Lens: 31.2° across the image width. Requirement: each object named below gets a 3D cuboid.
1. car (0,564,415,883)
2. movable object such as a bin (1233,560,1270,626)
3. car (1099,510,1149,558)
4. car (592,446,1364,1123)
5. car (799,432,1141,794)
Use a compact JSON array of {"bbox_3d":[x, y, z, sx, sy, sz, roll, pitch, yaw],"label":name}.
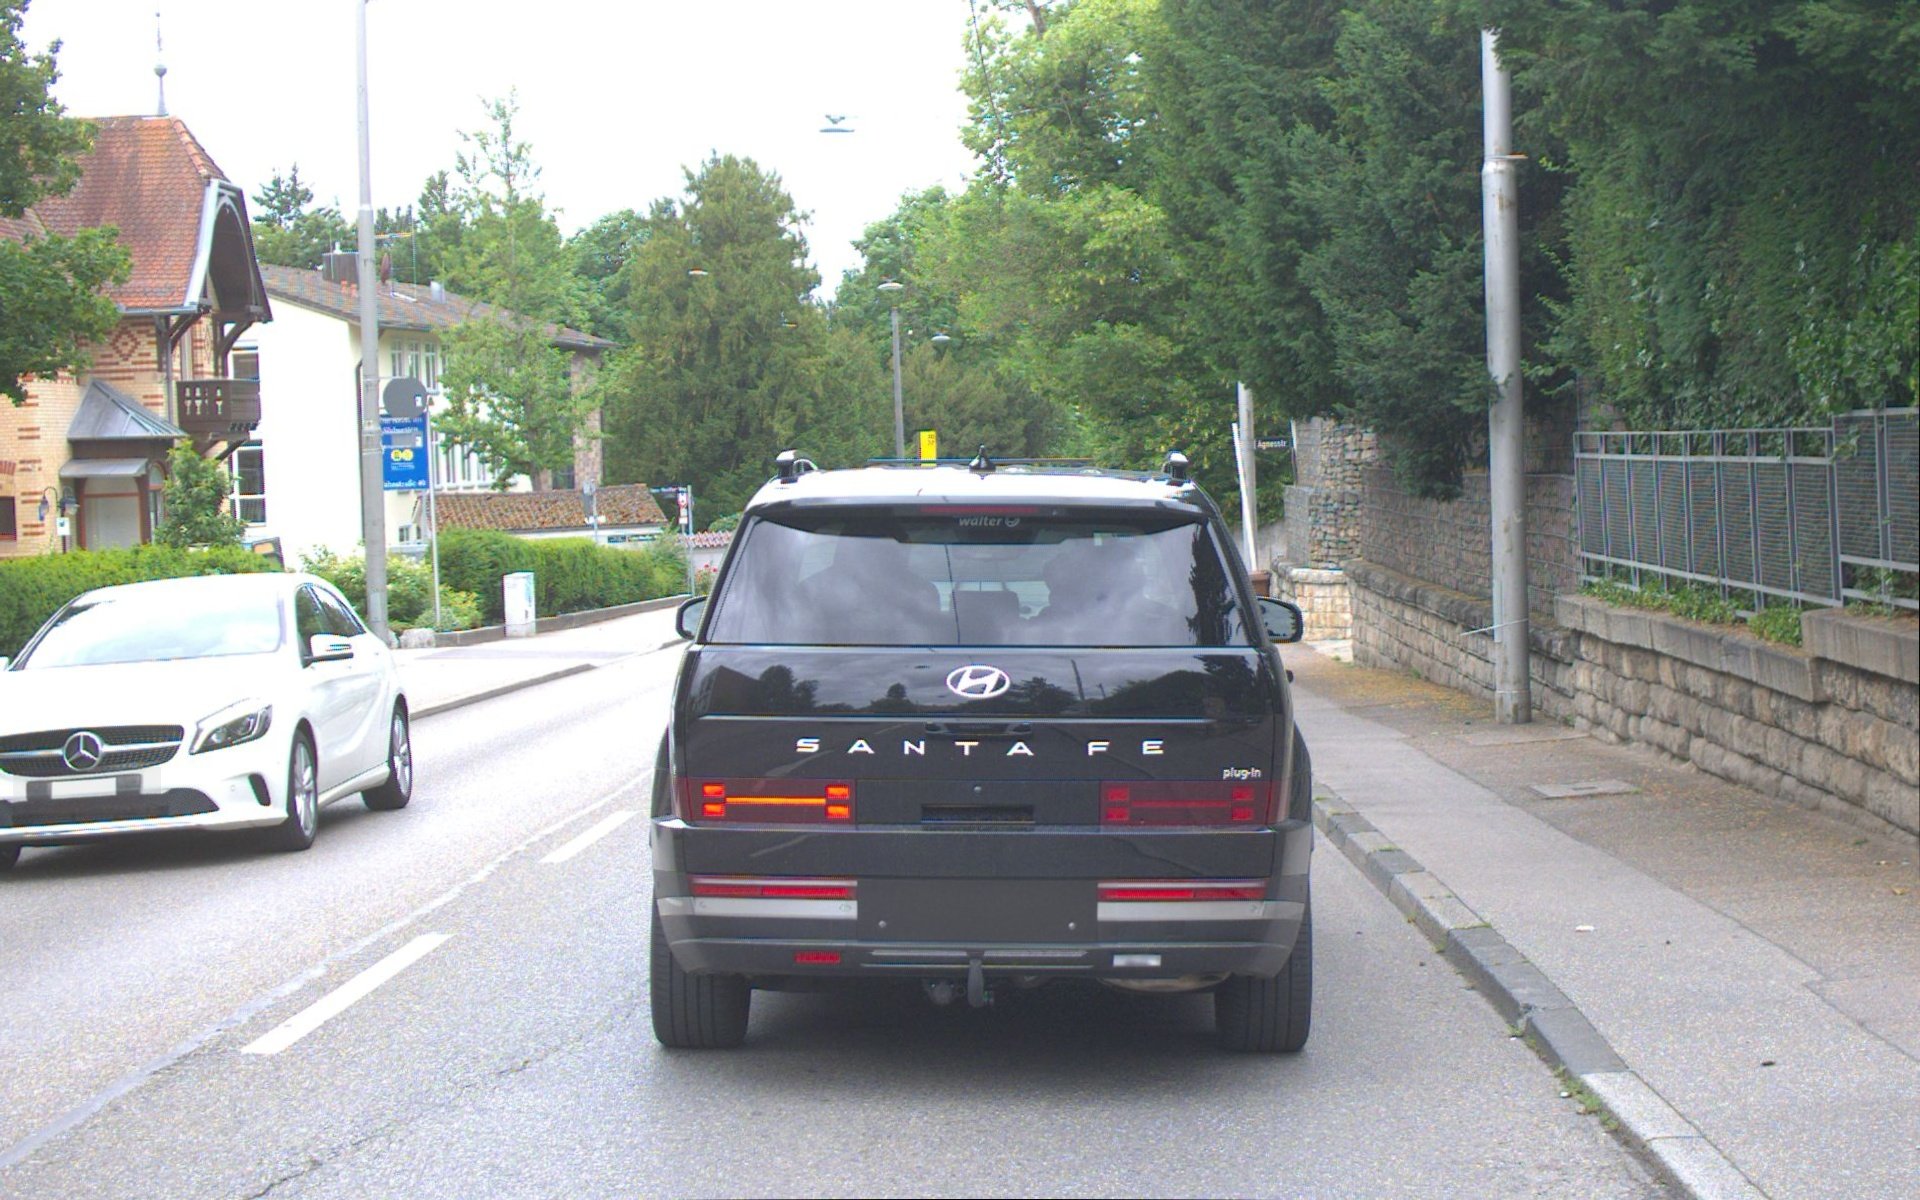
[{"bbox_3d":[-4.191,0.585,18.408,1.766,1.417,4.066,-4,1,1],"label":"car"},{"bbox_3d":[4.041,-0.099,47.591,0.445,0.907,0.394,-2,1,11],"label":"movable object such as a bin"},{"bbox_3d":[6.019,-2.413,125.947,1.645,1.555,3.649,-2,-1,4],"label":"car"},{"bbox_3d":[0.097,0.422,10.948,1.957,1.707,4.223,1,1,2],"label":"car"},{"bbox_3d":[0.000,-0.019,22.441,1.957,1.948,4.225,2,5,-2],"label":"car"}]
